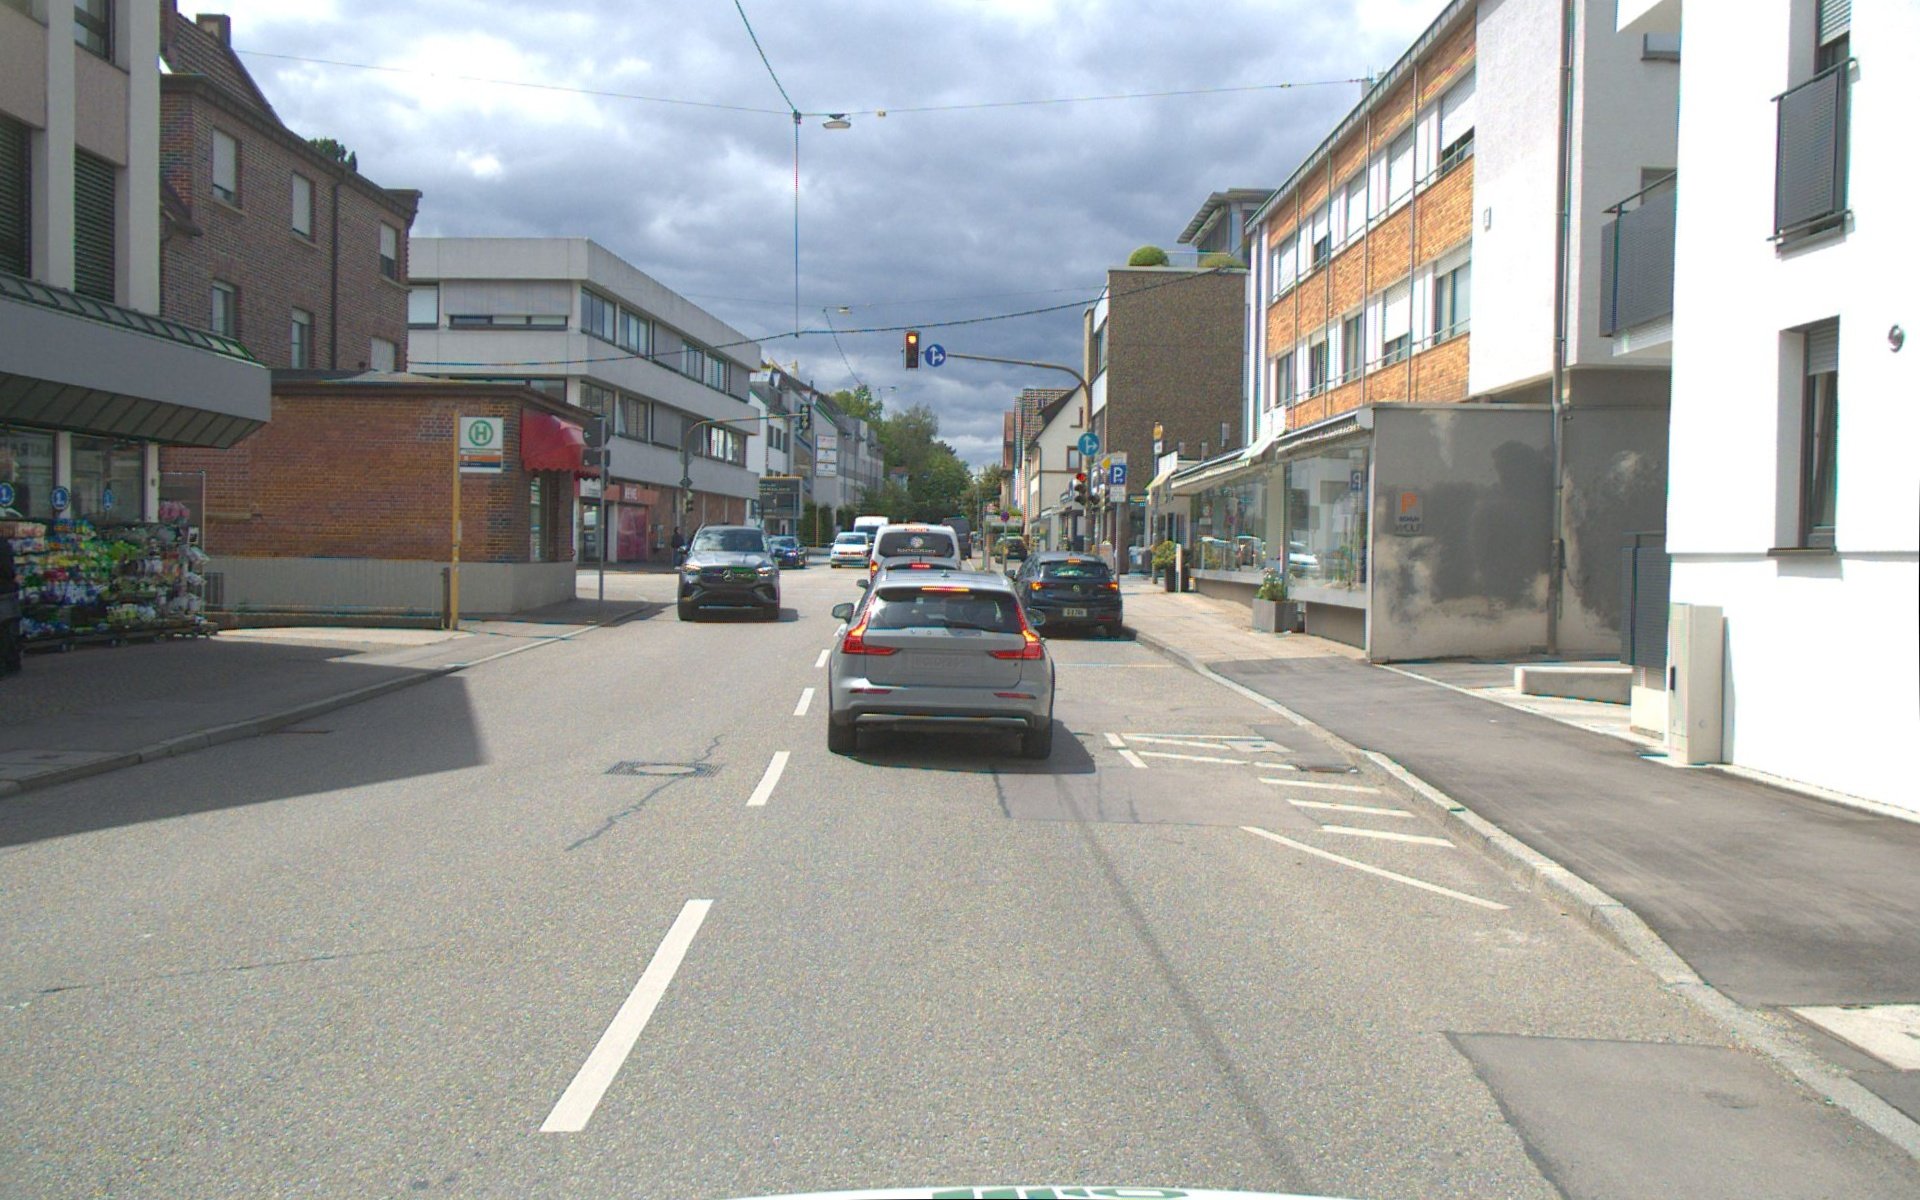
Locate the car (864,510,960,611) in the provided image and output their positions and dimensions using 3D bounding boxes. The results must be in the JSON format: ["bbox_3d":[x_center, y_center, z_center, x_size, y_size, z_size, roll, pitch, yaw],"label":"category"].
[{"bbox_3d":[-0.938,-0.759,33.717,1.799,1.894,3.850,1,0,-1],"label":"car"}]

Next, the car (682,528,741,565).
[{"bbox_3d":[-10.907,-2.325,72.836,1.953,1.422,4.000,2,0,0],"label":"car"}]

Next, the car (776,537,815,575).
[{"bbox_3d":[-9.689,-2.567,97.793,1.953,2.049,3.999,2,0,-2],"label":"car"}]

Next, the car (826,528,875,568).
[{"bbox_3d":[-5.034,-2.388,76.708,1.834,1.668,4.001,2,0,2],"label":"car"}]

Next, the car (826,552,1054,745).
[{"bbox_3d":[-0.168,0.359,14.474,1.708,1.441,3.999,1,0,-1],"label":"car"}]

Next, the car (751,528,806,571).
[{"bbox_3d":[-7.977,-2.209,72.989,1.834,1.668,4.001,2,0,2],"label":"car"}]

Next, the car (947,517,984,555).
[{"bbox_3d":[0.320,-4.376,114.293,2.387,2.359,5.326,2,0,-1],"label":"car"}]

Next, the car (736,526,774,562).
[{"bbox_3d":[-9.793,-2.654,79.169,1.356,1.568,3.398,1,-1,0],"label":"car"}]

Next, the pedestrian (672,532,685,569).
[{"bbox_3d":[-11.212,-1.961,65.900,0.504,1.461,0.488,0,0,-9],"label":"pedestrian"}]

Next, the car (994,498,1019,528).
[{"bbox_3d":[3.558,-6.705,127.722,1.765,2.049,3.999,1,-1,-1],"label":"car"}]

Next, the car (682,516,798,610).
[{"bbox_3d":[-4.372,-0.718,33.425,1.802,1.756,4.351,1,0,-1],"label":"car"}]

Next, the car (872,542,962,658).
[{"bbox_3d":[-0.629,-0.053,24.698,1.248,1.553,3.051,0,3,-1],"label":"car"}]

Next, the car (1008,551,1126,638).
[{"bbox_3d":[1.887,-0.155,30.241,1.718,1.394,3.999,1,2,-2],"label":"car"}]

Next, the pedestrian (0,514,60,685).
[{"bbox_3d":[-9.286,-0.012,16.160,0.615,1.630,0.563,1,0,3],"label":"pedestrian"}]

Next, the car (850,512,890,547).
[{"bbox_3d":[-4.909,-3.854,90.856,1.834,1.669,4.001,1,-1,2],"label":"car"}]
